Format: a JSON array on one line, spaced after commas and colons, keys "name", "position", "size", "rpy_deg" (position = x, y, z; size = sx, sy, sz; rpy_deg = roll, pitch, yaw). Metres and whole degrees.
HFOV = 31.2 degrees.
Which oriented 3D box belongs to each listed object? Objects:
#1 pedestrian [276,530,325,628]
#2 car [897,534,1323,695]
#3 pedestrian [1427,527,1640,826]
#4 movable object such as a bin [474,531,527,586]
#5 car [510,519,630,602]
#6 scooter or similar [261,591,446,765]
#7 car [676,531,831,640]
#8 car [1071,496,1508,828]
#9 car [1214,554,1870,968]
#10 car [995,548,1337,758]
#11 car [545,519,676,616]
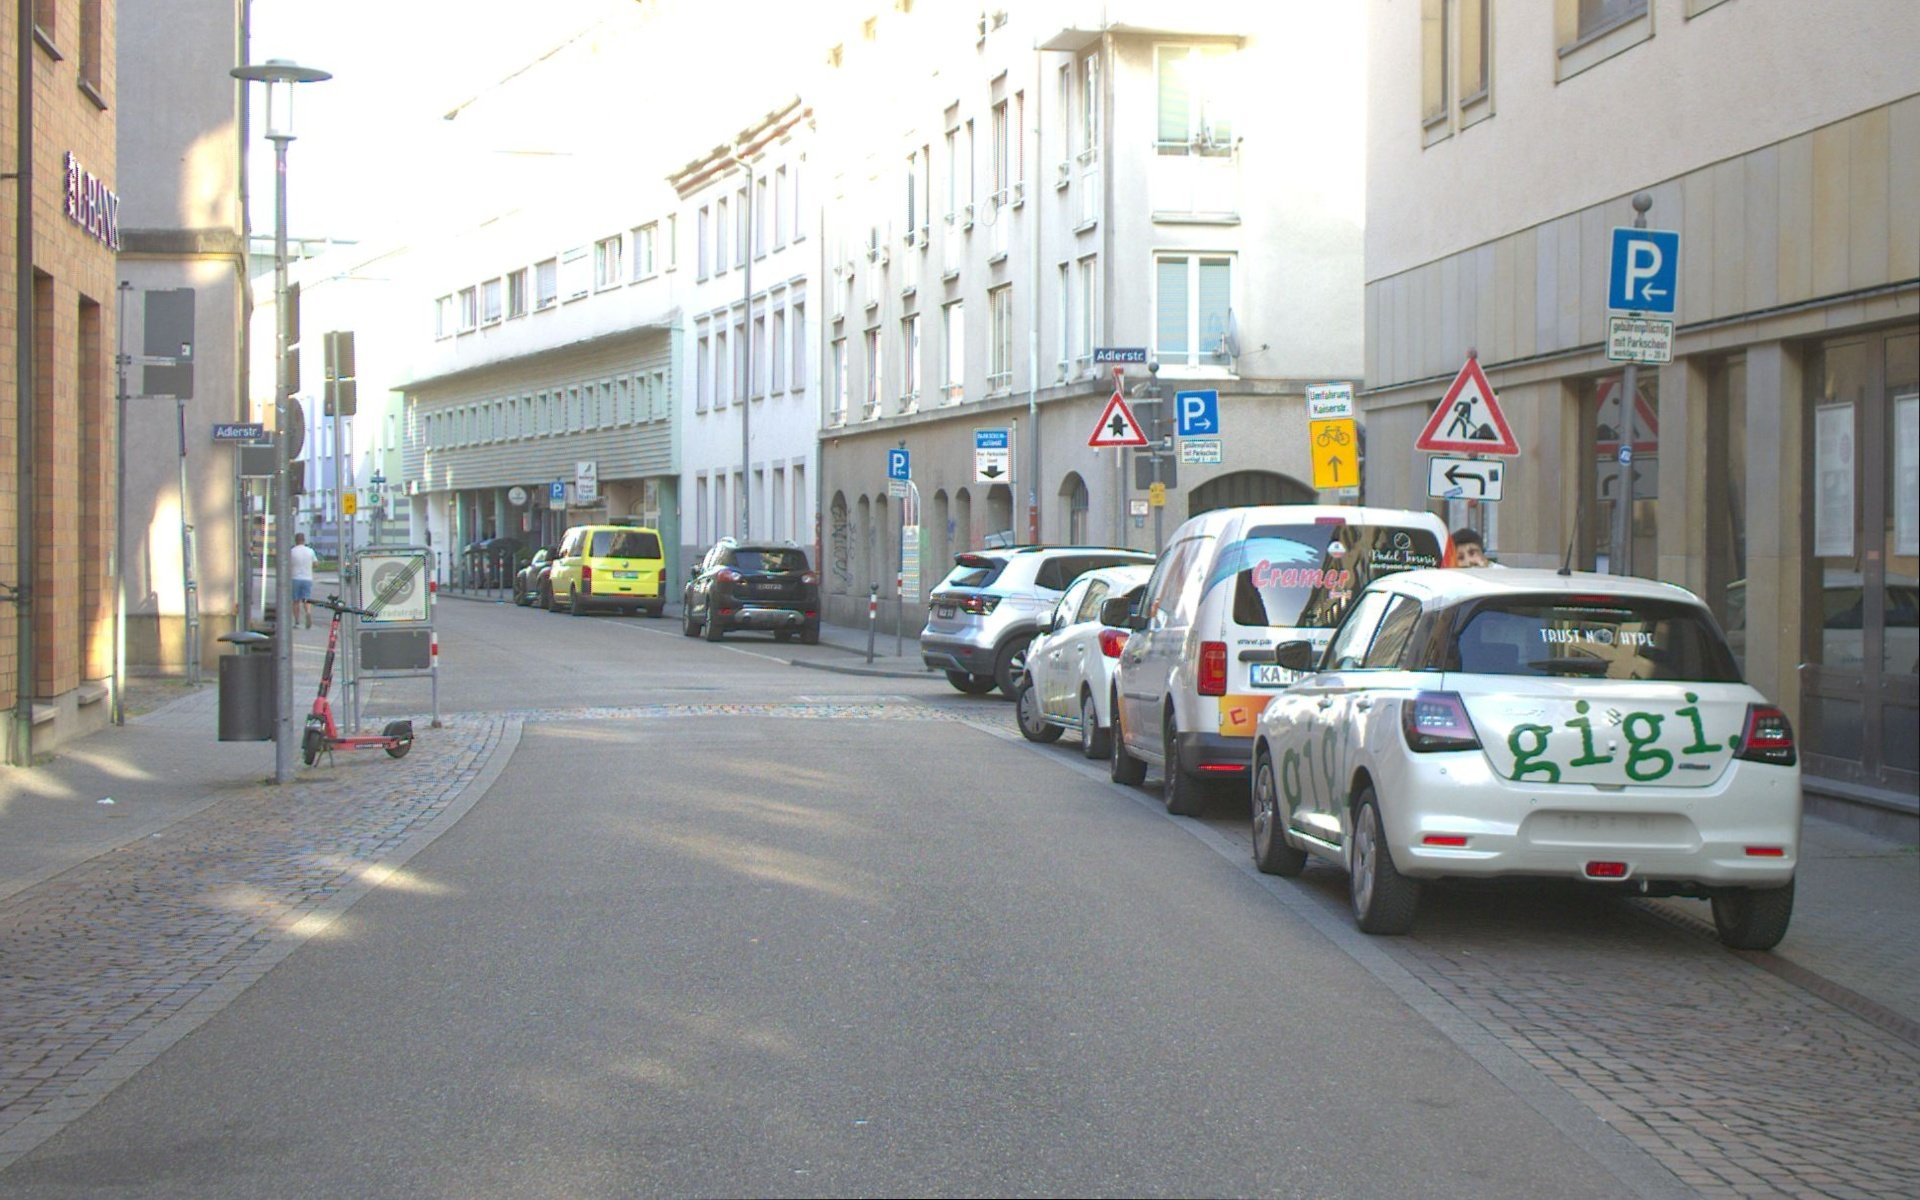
[{"name": "pedestrian", "position": [-11.626, -0.372, 60.595], "size": [0.765, 1.718, 0.687], "rpy_deg": [0, 1, -17]}, {"name": "car", "position": [1.541, 0.114, 35.564], "size": [3.986, 1.557, 1.843], "rpy_deg": [-1, 1, -21]}, {"name": "pedestrian", "position": [3.534, 0.457, 21.282], "size": [1.042, 1.795, 1.199], "rpy_deg": [0, 0, -4]}, {"name": "movable object such as a bin", "position": [-13.009, -1.178, 97.250], "size": [1.131, 1.552, 1.740], "rpy_deg": [0, 1, -20]}, {"name": "car", "position": [-8.996, -0.929, 79.031], "size": [2.052, 1.866, 4.101], "rpy_deg": [0, 1, -16]}, {"name": "scooter or similar", "position": [-4.452, 0.557, 25.307], "size": [0.698, 1.213, 1.355], "rpy_deg": [0, 1, 24]}, {"name": "car", "position": [-3.468, -0.264, 57.102], "size": [1.967, 1.686, 4.102], "rpy_deg": [1, 1, -12]}, {"name": "car", "position": [1.899, 0.301, 21.484], "size": [1.830, 1.785, 5.215], "rpy_deg": [1, 1, -4]}, {"name": "car", "position": [2.379, 0.593, 15.198], "size": [1.840, 1.473, 4.169], "rpy_deg": [2, 1, -4]}, {"name": "car", "position": [1.550, 0.368, 27.425], "size": [1.888, 1.513, 4.064], "rpy_deg": [1, 1, -9]}, {"name": "car", "position": [-7.493, -0.725, 73.334], "size": [2.052, 2.007, 4.176], "rpy_deg": [0, 1, -16]}]
